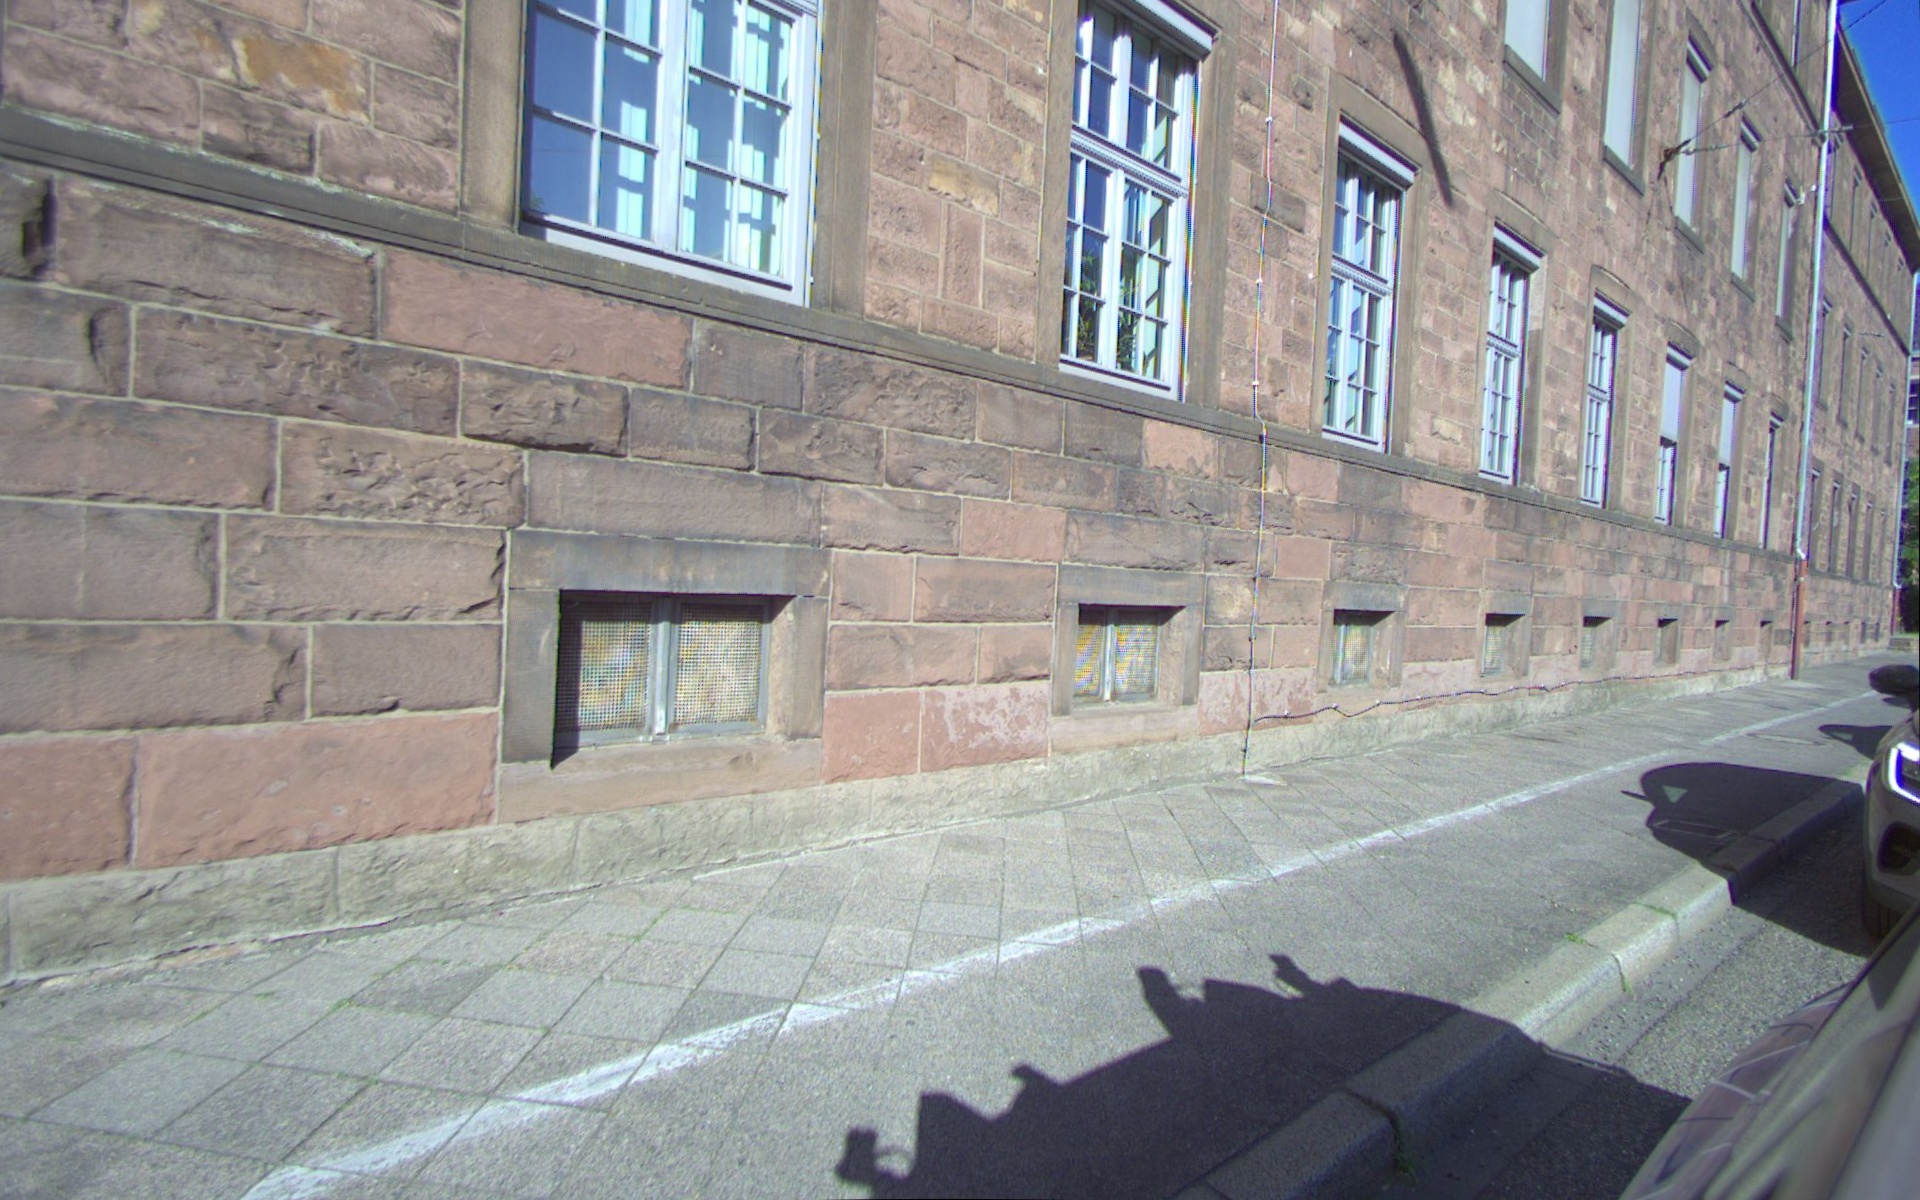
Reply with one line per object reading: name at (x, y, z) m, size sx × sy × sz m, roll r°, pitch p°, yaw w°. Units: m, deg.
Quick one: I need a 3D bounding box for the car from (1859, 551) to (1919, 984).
car at (5.471, 0.669, 4.540) m, size 3.735 × 1.624 × 1.793 m, roll 1°, pitch 1°, yaw -43°
